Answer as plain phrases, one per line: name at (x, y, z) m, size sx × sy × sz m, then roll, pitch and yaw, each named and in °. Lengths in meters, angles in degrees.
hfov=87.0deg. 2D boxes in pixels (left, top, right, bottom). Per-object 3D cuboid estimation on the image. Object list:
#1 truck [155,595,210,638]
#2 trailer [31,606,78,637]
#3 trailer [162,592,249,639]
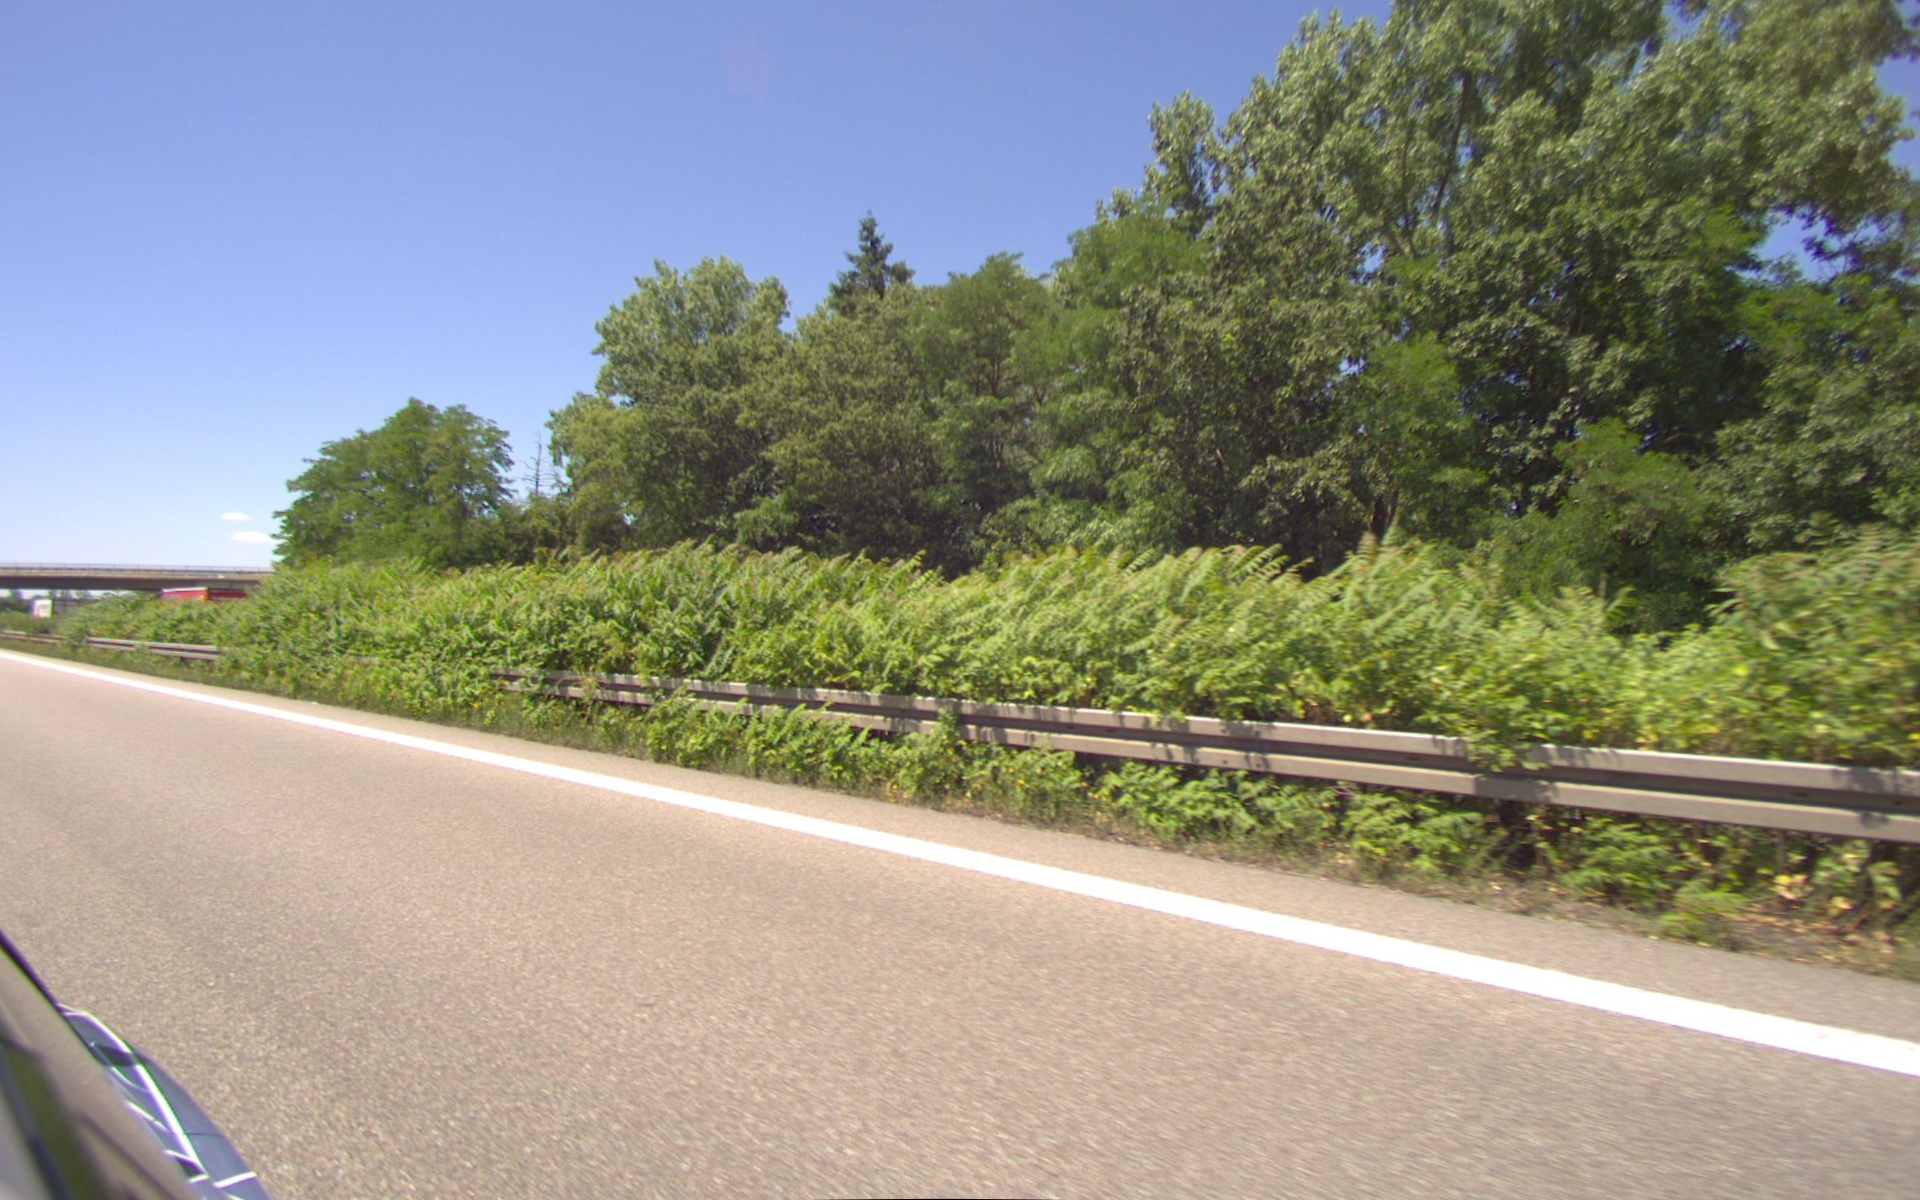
truck at (-64.069, 1.375, 83.350) m, size 5.114 × 3.448 × 2.571 m, roll -1°, pitch 0°, yaw 41°
trailer at (-114.568, 2.767, 127.959) m, size 13.922 × 3.738 × 2.796 m, roll -1°, pitch 0°, yaw 41°
trailer at (-58.984, 1.255, 78.889) m, size 14.148 × 3.443 × 2.560 m, roll -1°, pitch 0°, yaw 41°
